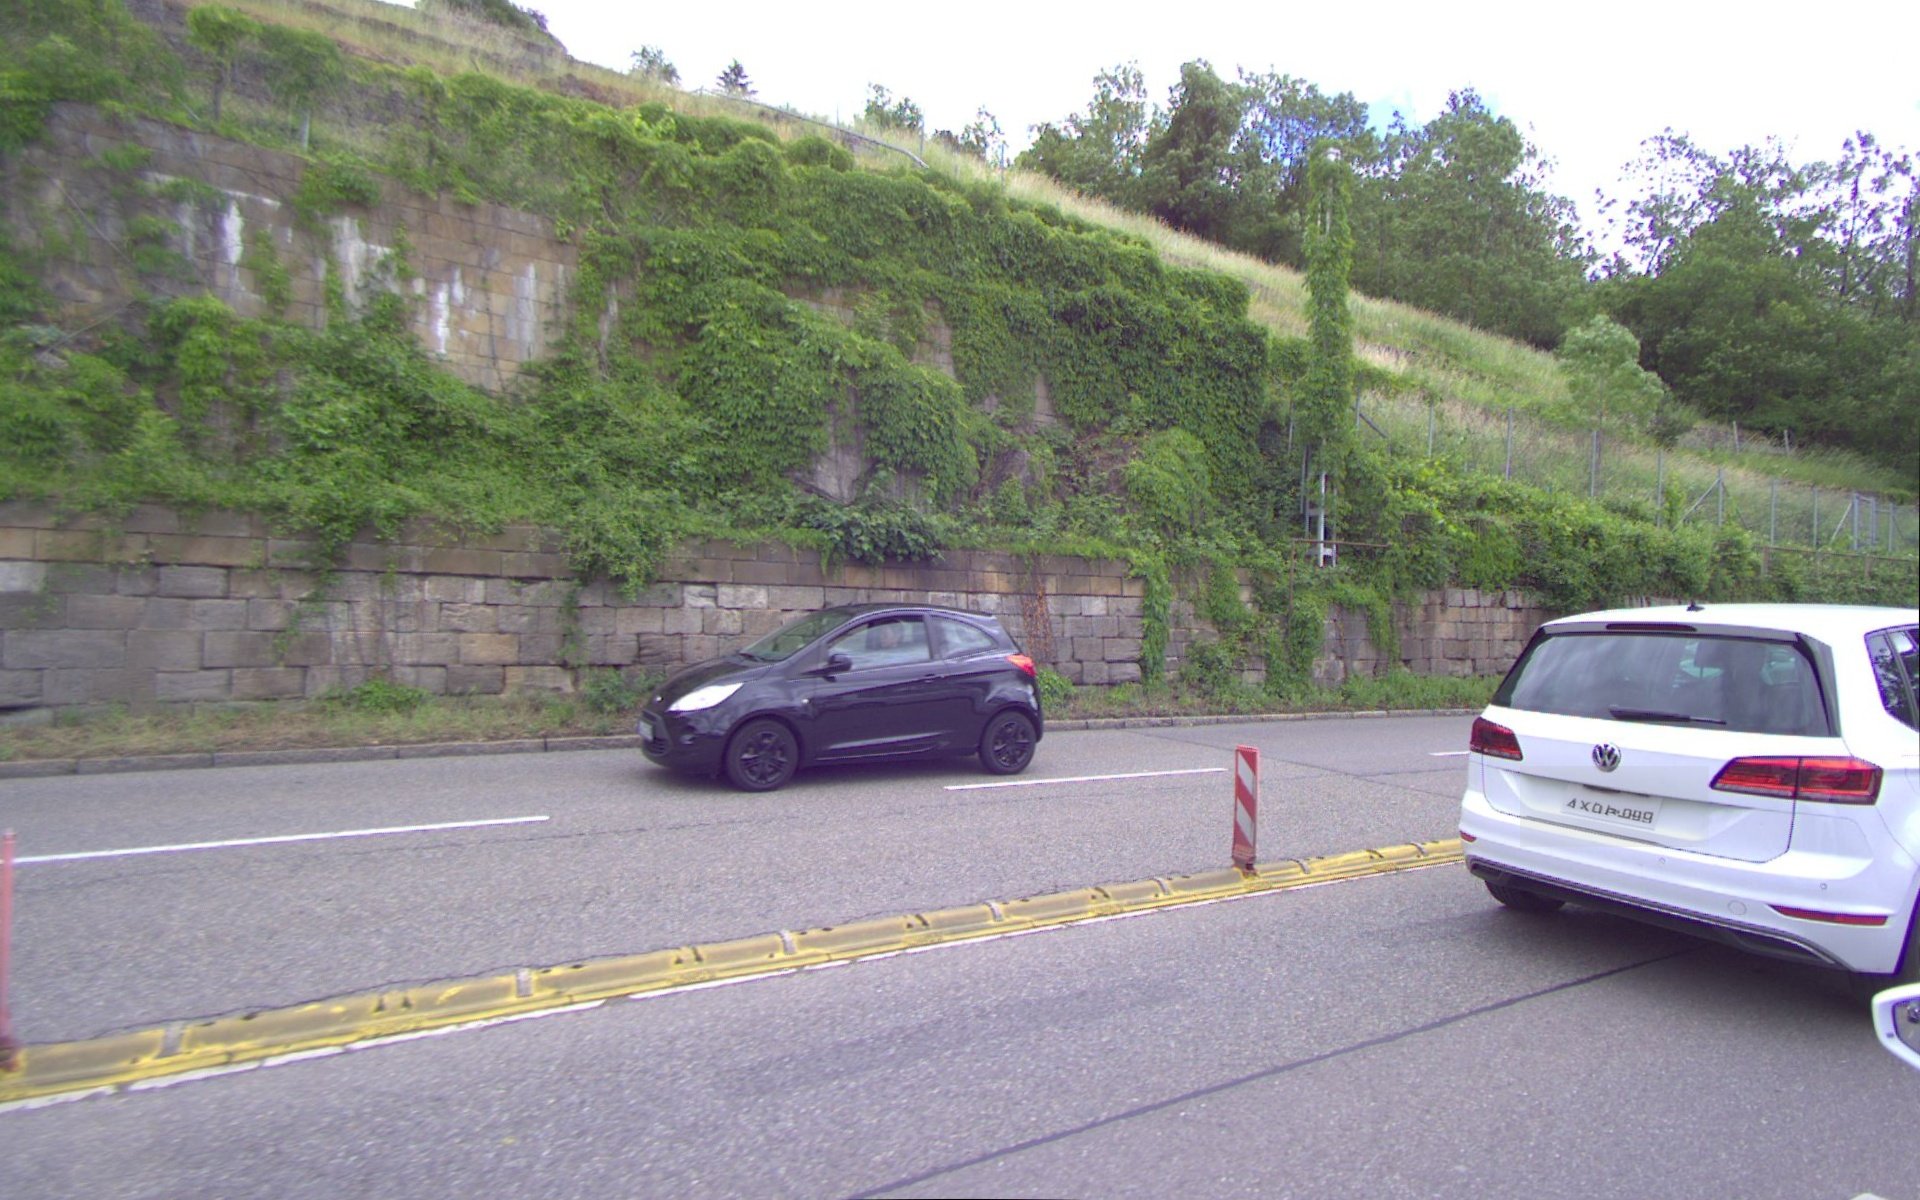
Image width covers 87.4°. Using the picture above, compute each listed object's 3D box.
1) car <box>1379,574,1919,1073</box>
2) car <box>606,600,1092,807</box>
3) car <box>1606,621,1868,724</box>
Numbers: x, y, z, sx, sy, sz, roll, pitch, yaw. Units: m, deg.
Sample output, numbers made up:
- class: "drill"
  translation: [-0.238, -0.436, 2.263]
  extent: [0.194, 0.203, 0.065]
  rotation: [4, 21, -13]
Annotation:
- class: "car"
  translation: [4.358, 0.788, 5.017]
  extent: [4.299, 1.601, 1.815]
  rotation: [2, -1, -27]
- class: "car"
  translation: [-0.909, 0.782, 8.932]
  extent: [3.956, 1.461, 1.697]
  rotation: [2, 0, -32]
- class: "car"
  translation: [13.072, 1.153, 16.873]
  extent: [4.278, 1.535, 1.844]
  rotation: [2, -1, -27]
